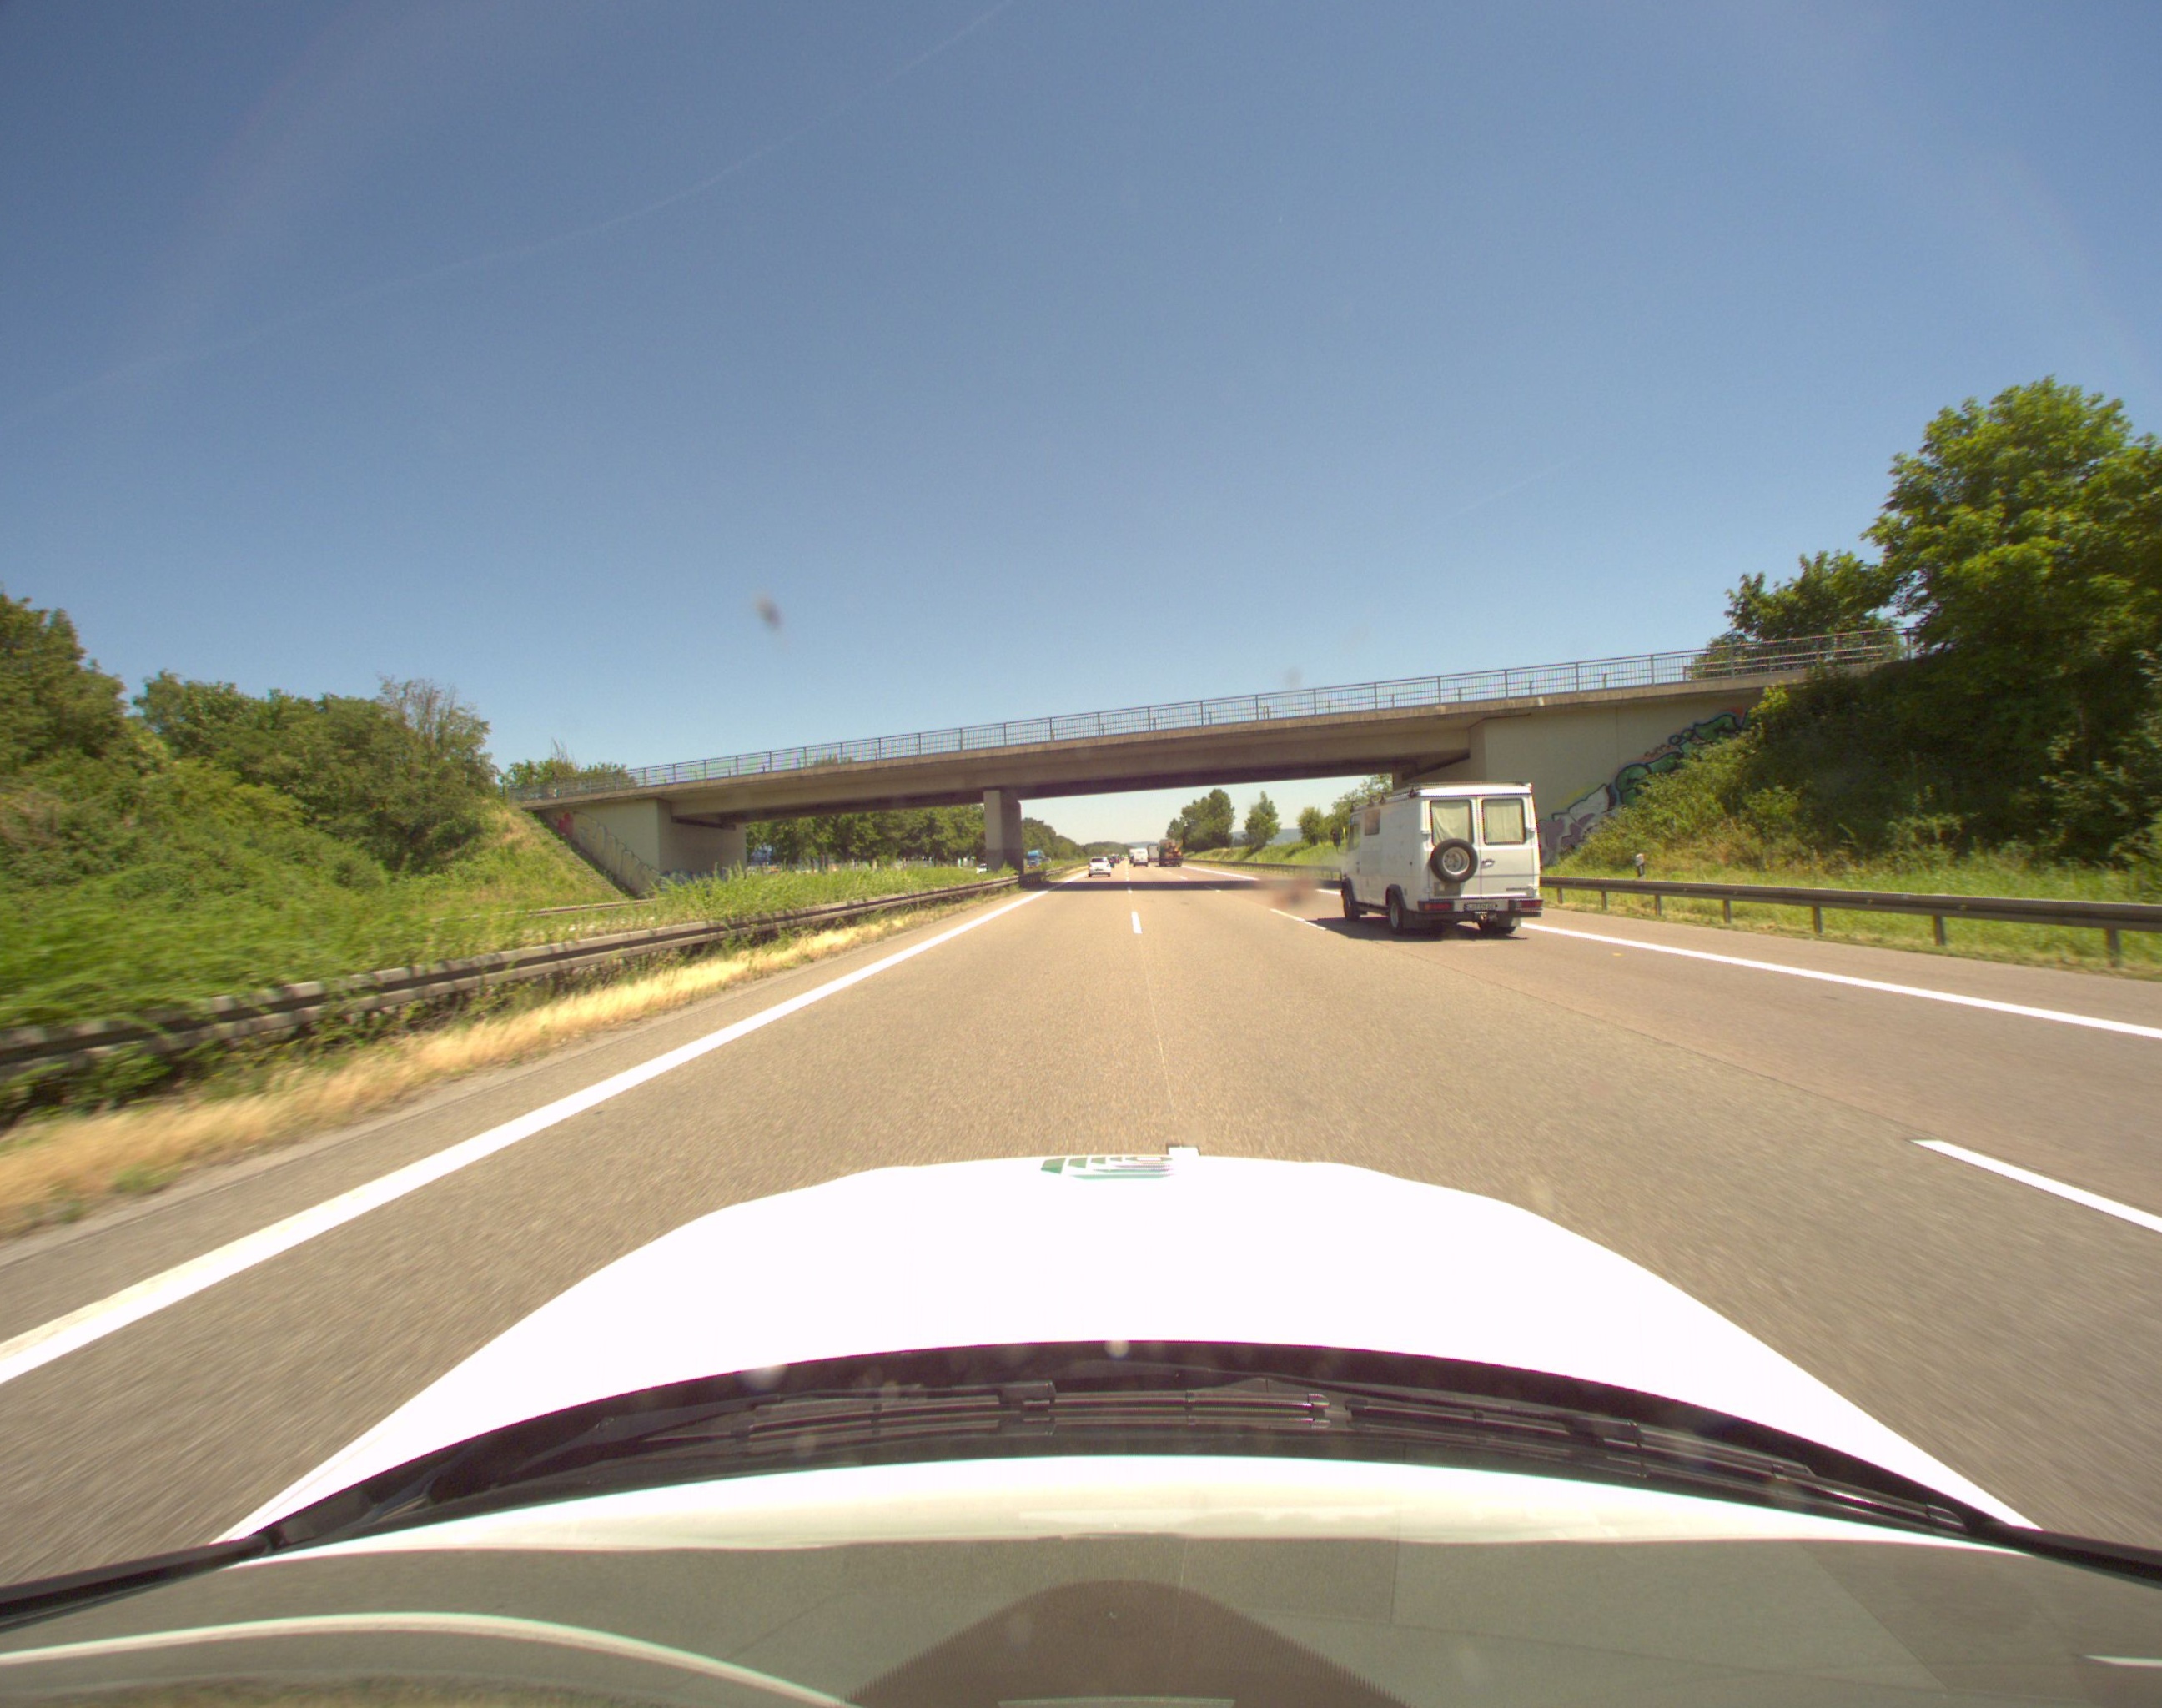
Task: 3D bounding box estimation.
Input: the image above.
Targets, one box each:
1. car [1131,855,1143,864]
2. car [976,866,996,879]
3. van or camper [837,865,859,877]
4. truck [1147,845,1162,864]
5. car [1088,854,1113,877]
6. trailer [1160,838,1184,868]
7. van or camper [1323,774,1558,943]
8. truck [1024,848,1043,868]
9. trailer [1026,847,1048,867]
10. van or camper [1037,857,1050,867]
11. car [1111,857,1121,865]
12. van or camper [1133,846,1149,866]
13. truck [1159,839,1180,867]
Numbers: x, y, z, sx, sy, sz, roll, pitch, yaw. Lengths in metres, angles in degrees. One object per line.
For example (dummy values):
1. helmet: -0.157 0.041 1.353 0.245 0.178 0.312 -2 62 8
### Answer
1. car: 10.135 1.011 147.657 1.850 1.652 4.002 -1 -1 2
2. car: -9.947 1.943 85.582 1.508 1.387 3.170 0 -1 4
3. van or camper: -53.882 3.974 188.469 2.348 2.552 7.728 -3 -1 2
4. truck: 17.059 0.113 190.228 3.065 4.209 16.861 0 -1 4
5. car: 1.528 0.854 62.269 1.850 1.652 4.002 0 -1 2
6. trailer: 12.627 -0.115 113.553 2.641 3.959 13.648 -1 0 4
7. van or camper: 6.766 0.101 16.378 2.105 2.703 6.371 -1 -1 2
8. truck: -10.192 0.806 175.258 2.867 3.975 7.377 -5 -1 2
9. trailer: -9.868 0.683 182.832 2.867 3.978 17.485 -5 -1 3
10. van or camper: -6.994 1.491 152.556 1.986 1.869 4.458 -4 -1 2
11. car: 6.968 1.435 162.546 1.850 1.652 4.002 -1 -1 2
12. van or camper: 8.271 0.312 112.869 2.049 2.622 5.990 -1 -1 3
13. truck: 13.077 -0.062 120.579 2.658 3.994 6.642 -1 0 3
